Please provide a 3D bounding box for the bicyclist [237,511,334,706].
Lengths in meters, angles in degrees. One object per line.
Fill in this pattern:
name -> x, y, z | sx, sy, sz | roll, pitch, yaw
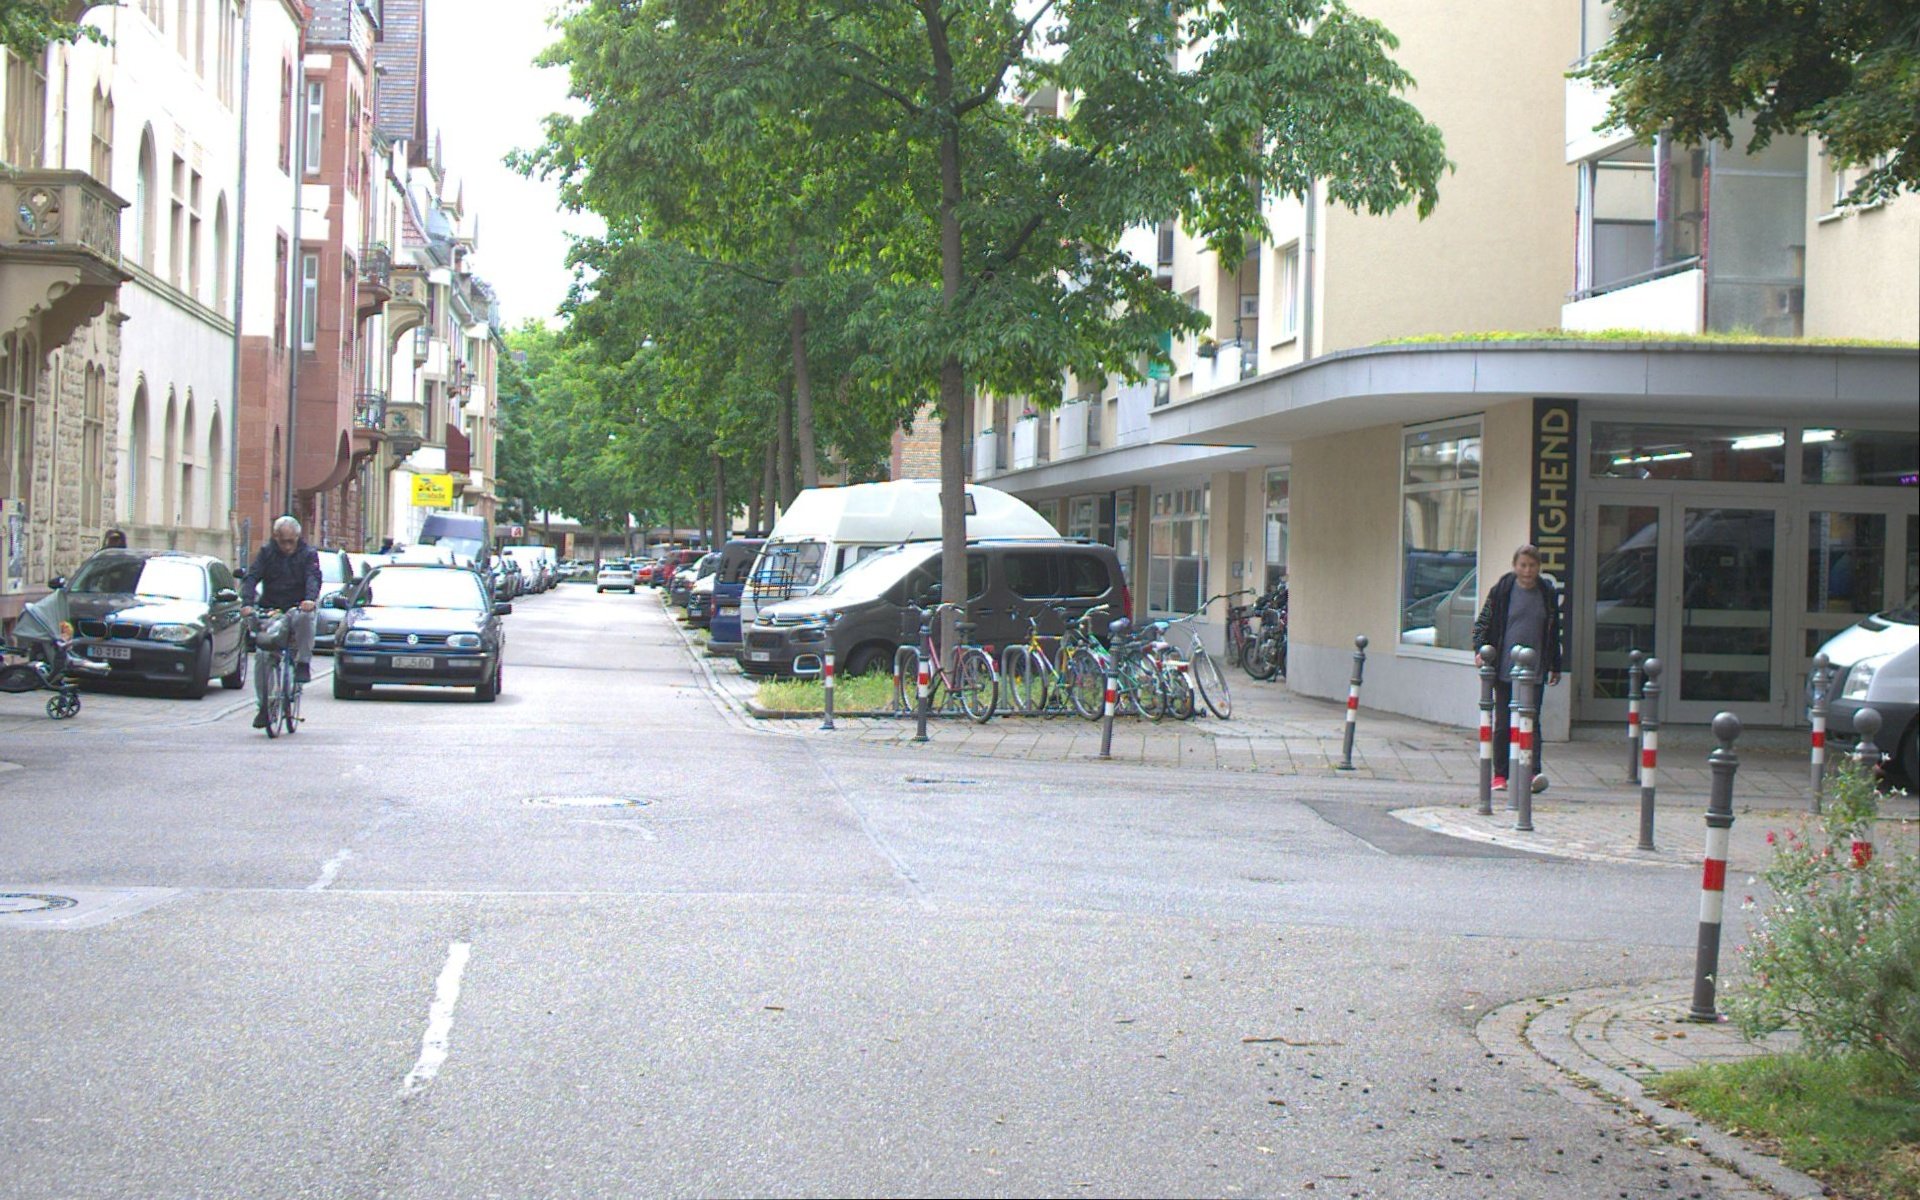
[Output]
bicyclist -> -5.388, 0.063, 27.486 | 0.647, 1.533, 0.677 | 1, 1, -3

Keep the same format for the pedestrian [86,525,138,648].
pedestrian -> -10.517, -0.171, 42.653 | 0.515, 1.513, 0.547 | 1, 1, -5

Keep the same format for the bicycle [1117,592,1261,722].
bicycle -> 2.175, 0.530, 32.888 | 0.548, 1.169, 1.698 | 1, 1, -27

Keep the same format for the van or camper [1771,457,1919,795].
van or camper -> 9.501, 0.224, 26.870 | 5.771, 2.485, 2.136 | 2, 4, 3

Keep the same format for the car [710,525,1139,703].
car -> -0.381, 0.166, 38.128 | 4.331, 1.848, 1.911 | 1, 1, -30

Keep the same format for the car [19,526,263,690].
car -> -8.259, 0.091, 34.960 | 1.709, 1.489, 4.000 | 3, -1, -4

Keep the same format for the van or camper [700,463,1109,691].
van or camper -> -0.627, -0.247, 41.145 | 4.582, 2.587, 1.911 | 1, 1, -38

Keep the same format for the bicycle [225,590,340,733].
bicycle -> -5.398, 0.475, 27.455 | 0.633, 1.090, 1.799 | 2, 0, -3

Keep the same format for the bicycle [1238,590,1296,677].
bicycle -> 4.014, 0.434, 45.027 | 0.484, 1.086, 1.701 | 2, 1, -3

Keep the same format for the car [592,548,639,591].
car -> -15.751, -1.375, 157.410 | 1.993, 1.788, 4.000 | 3, -1, -5

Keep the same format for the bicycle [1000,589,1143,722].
bicycle -> 1.030, 0.503, 32.191 | 0.548, 1.169, 1.729 | 1, 1, -27

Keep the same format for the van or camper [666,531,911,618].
van or camper -> -3.768, -0.571, 75.926 | 5.006, 1.863, 2.127 | -1, 1, -33

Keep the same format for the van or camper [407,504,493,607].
van or camper -> -14.149, -1.264, 95.557 | 2.008, 2.642, 5.317 | 1, 2, -5

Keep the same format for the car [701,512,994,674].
car -> -1.576, -0.099, 49.809 | 2.064, 2.189, 4.390 | 2, 1, 33

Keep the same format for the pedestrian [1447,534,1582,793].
pedestrian -> 3.924, 0.441, 24.347 | 0.779, 1.791, 0.509 | 2, 1, -3

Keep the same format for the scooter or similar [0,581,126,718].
scooter or similar -> -8.110, 0.415, 29.891 | 1.469, 1.100, 0.676 | 4, 1, 6

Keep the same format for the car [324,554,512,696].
car -> -5.743, 0.267, 36.786 | 1.708, 1.408, 3.853 | 1, 0, -5

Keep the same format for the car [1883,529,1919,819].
car -> 6.977, 0.504, 20.265 | 1.770, 1.813, 4.001 | 2, 1, -3

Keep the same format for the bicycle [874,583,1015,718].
bicycle -> -0.153, 0.451, 31.629 | 0.548, 1.169, 1.729 | 1, 1, -27

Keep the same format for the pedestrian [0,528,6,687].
pedestrian -> -9.118, 0.131, 31.036 | 0.631, 1.588, 0.668 | 3, 1, 36

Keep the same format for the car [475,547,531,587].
car -> -17.863, -1.292, 134.578 | 1.993, 1.470, 4.001 | 2, 1, -5

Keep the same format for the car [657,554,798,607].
car -> -7.367, -0.605, 108.967 | 4.011, 1.554, 1.884 | 1, 1, -36

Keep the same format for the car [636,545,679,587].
car -> -15.767, -1.798, 178.963 | 1.993, 2.007, 4.001 | 5, 0, -6

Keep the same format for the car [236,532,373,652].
car -> -9.482, -0.144, 49.866 | 1.646, 1.565, 2.957 | 3, 1, -6

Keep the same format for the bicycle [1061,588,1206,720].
bicycle -> 1.626, 0.497, 32.520 | 0.548, 1.169, 1.729 | 1, 1, -27

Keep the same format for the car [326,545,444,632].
car -> -10.188, -0.226, 61.121 | 1.726, 1.382, 4.138 | 3, 1, -6

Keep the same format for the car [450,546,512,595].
car -> -15.533, -0.964, 111.596 | 1.789, 1.475, 4.023 | 3, 0, -6
